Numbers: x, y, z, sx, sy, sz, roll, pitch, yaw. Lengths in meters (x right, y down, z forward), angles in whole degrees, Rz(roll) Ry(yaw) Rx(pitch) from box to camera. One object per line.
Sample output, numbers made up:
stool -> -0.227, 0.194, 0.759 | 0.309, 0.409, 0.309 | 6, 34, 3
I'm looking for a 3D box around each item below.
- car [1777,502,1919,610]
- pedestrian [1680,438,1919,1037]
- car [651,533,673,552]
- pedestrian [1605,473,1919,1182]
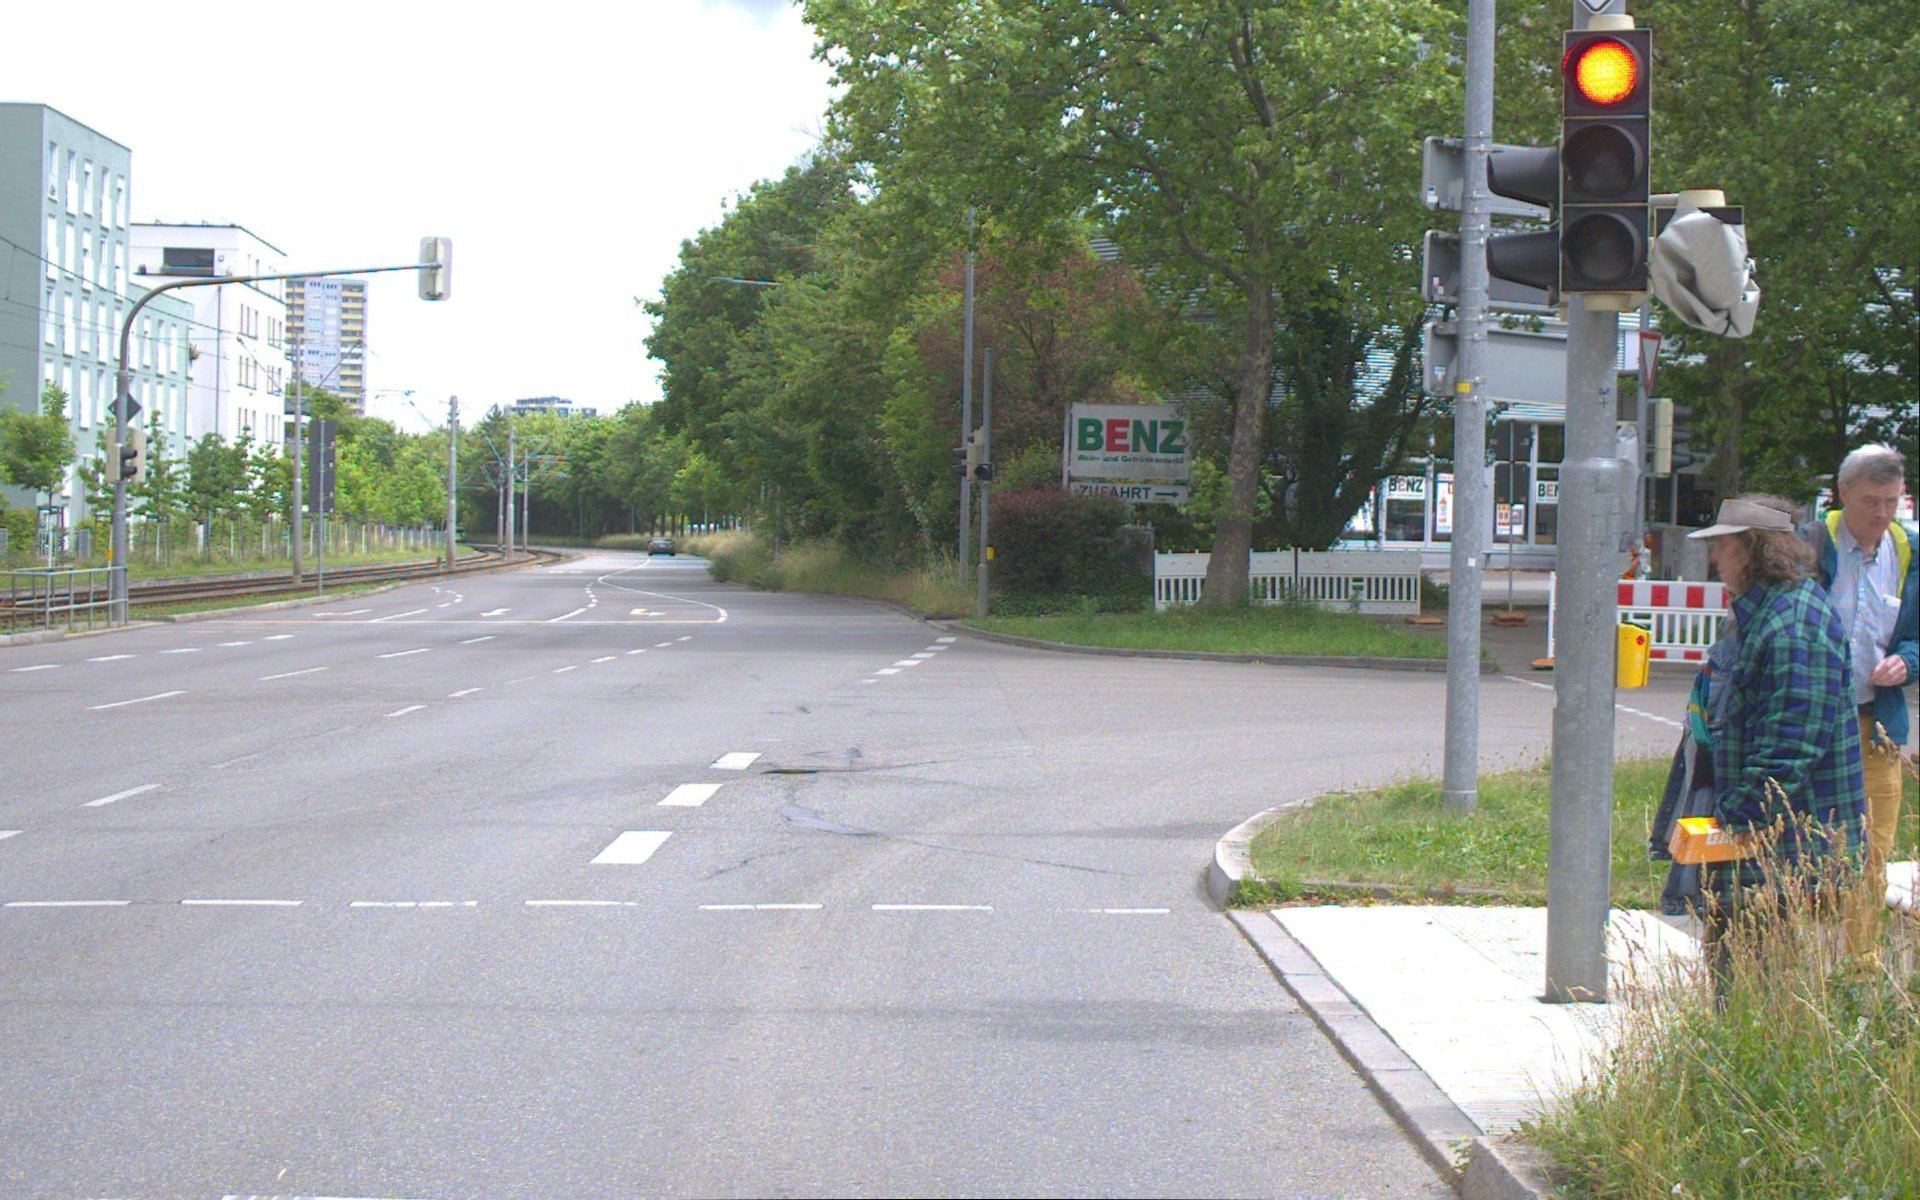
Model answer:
car -> 17.743, -0.842, 65.486 | 1.993, 2.007, 4.000 | 0, 1, -32
pedestrian -> 2.881, 0.400, 10.697 | 0.945, 1.768, 1.013 | 1, 1, -7
car -> -21.798, -4.195, 251.760 | 1.594, 1.349, 4.001 | 1, 0, -5
pedestrian -> 2.039, 0.530, 8.503 | 0.822, 1.665, 0.733 | 1, 1, 8
